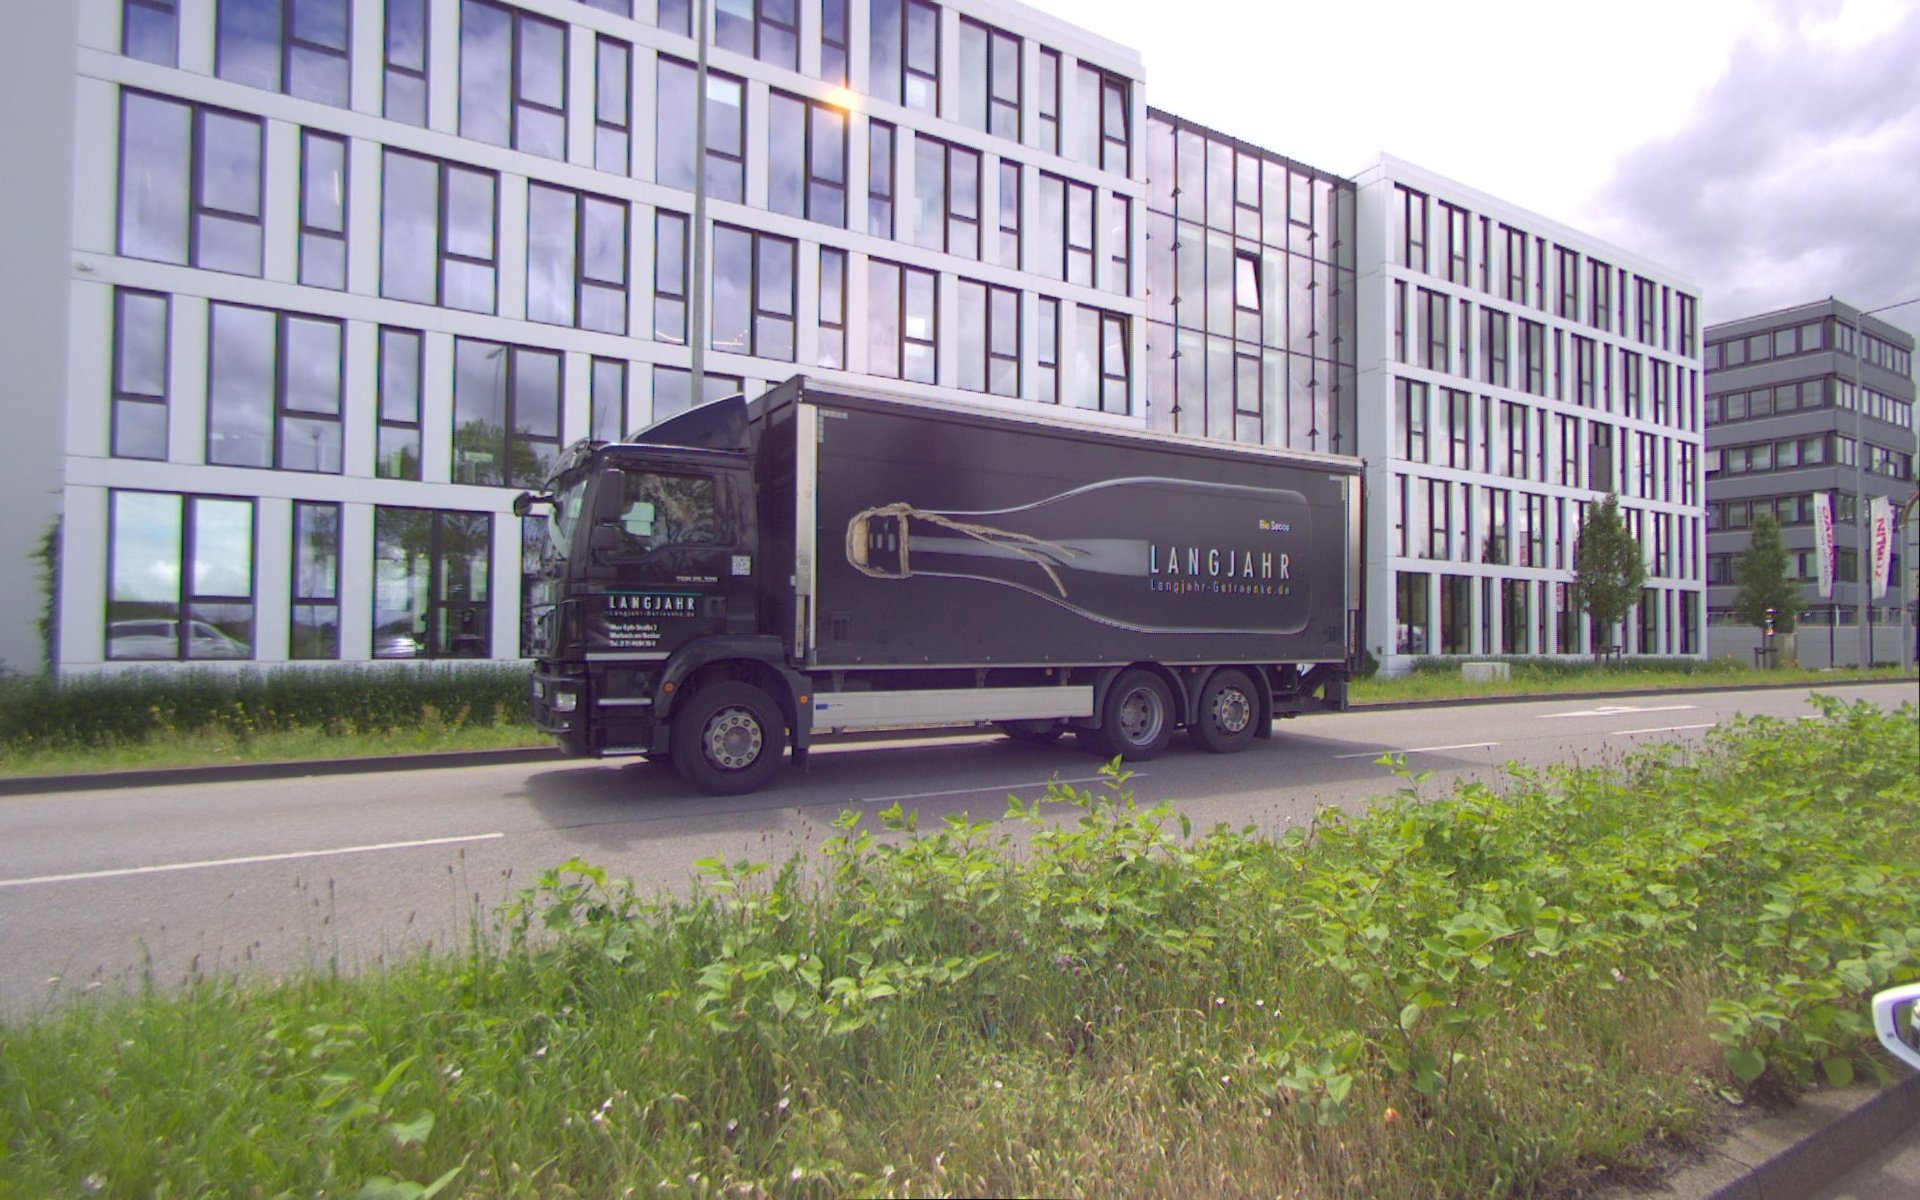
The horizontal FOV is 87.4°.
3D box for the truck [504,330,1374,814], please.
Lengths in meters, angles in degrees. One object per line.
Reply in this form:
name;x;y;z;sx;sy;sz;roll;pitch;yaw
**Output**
truck;0.229;-0.134;11.190;9.416;3.564;3.152;1;-1;-31
